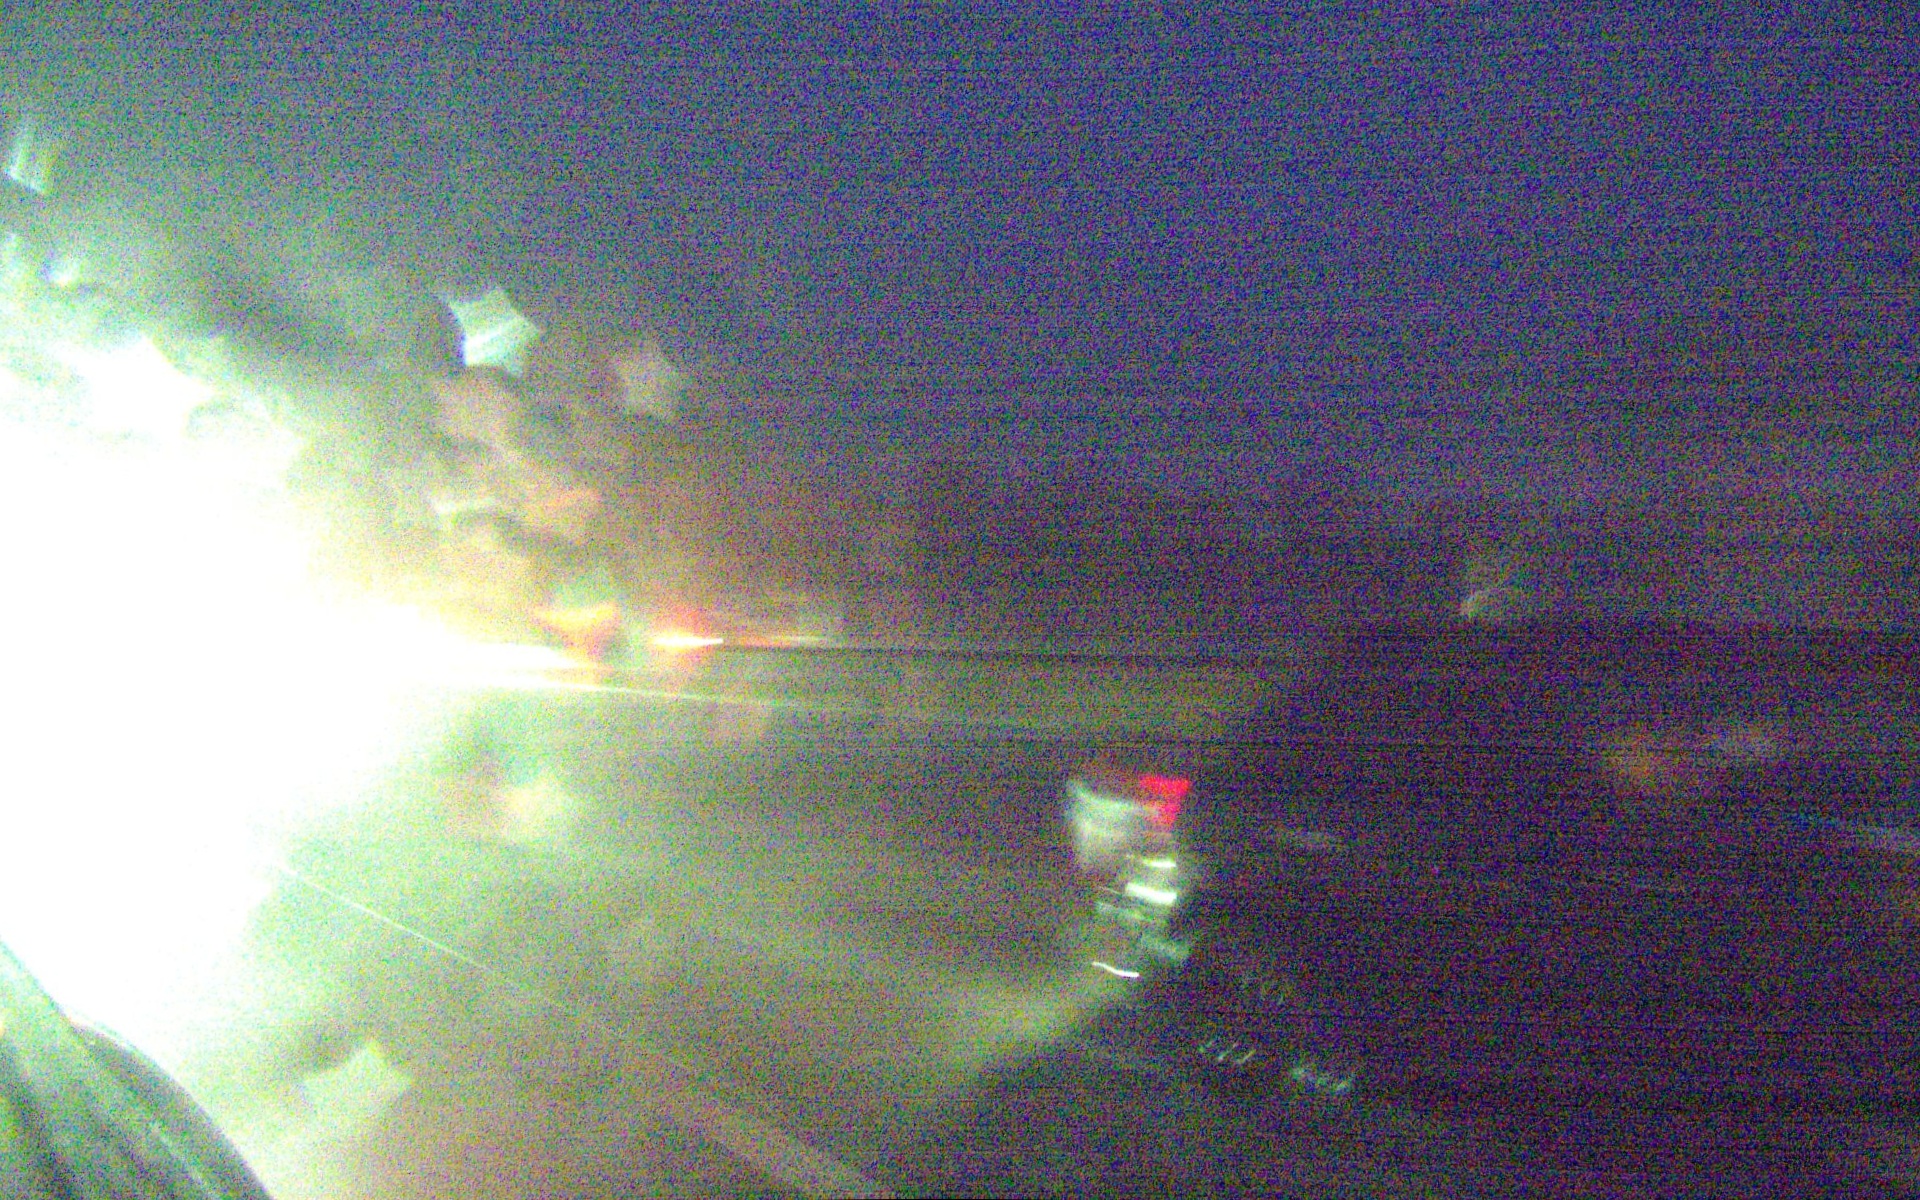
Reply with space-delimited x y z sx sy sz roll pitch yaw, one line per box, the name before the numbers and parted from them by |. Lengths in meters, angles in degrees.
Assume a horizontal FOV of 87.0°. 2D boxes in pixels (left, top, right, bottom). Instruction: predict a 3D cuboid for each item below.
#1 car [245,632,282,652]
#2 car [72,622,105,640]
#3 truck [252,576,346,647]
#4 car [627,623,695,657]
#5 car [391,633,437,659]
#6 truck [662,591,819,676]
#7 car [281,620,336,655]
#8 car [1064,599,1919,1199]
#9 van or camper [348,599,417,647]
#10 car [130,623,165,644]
car | -60.502 3.609 87.864 4.203 1.640 1.659 -1 0 41
car | -96.011 3.400 111.456 5.267 1.904 2.052 -1 0 41
truck | -65.196 1.099 99.476 17.295 6.460 3.189 -1 0 41
car | -16.290 2.137 55.148 3.885 1.685 1.744 -1 0 41
car | -35.832 3.004 66.414 3.460 1.512 1.527 -1 0 41
truck | -8.621 1.237 39.264 6.699 3.022 2.425 -1 0 41
car | -40.082 2.272 62.239 3.998 2.029 1.772 -1 0 41
car | 2.456 0.717 2.333 4.244 1.441 1.639 -1 -1 41
van or camper | -47.018 1.840 82.357 7.676 3.729 2.488 -1 0 41
car | -73.322 2.981 91.311 4.754 1.812 1.647 -1 0 41
